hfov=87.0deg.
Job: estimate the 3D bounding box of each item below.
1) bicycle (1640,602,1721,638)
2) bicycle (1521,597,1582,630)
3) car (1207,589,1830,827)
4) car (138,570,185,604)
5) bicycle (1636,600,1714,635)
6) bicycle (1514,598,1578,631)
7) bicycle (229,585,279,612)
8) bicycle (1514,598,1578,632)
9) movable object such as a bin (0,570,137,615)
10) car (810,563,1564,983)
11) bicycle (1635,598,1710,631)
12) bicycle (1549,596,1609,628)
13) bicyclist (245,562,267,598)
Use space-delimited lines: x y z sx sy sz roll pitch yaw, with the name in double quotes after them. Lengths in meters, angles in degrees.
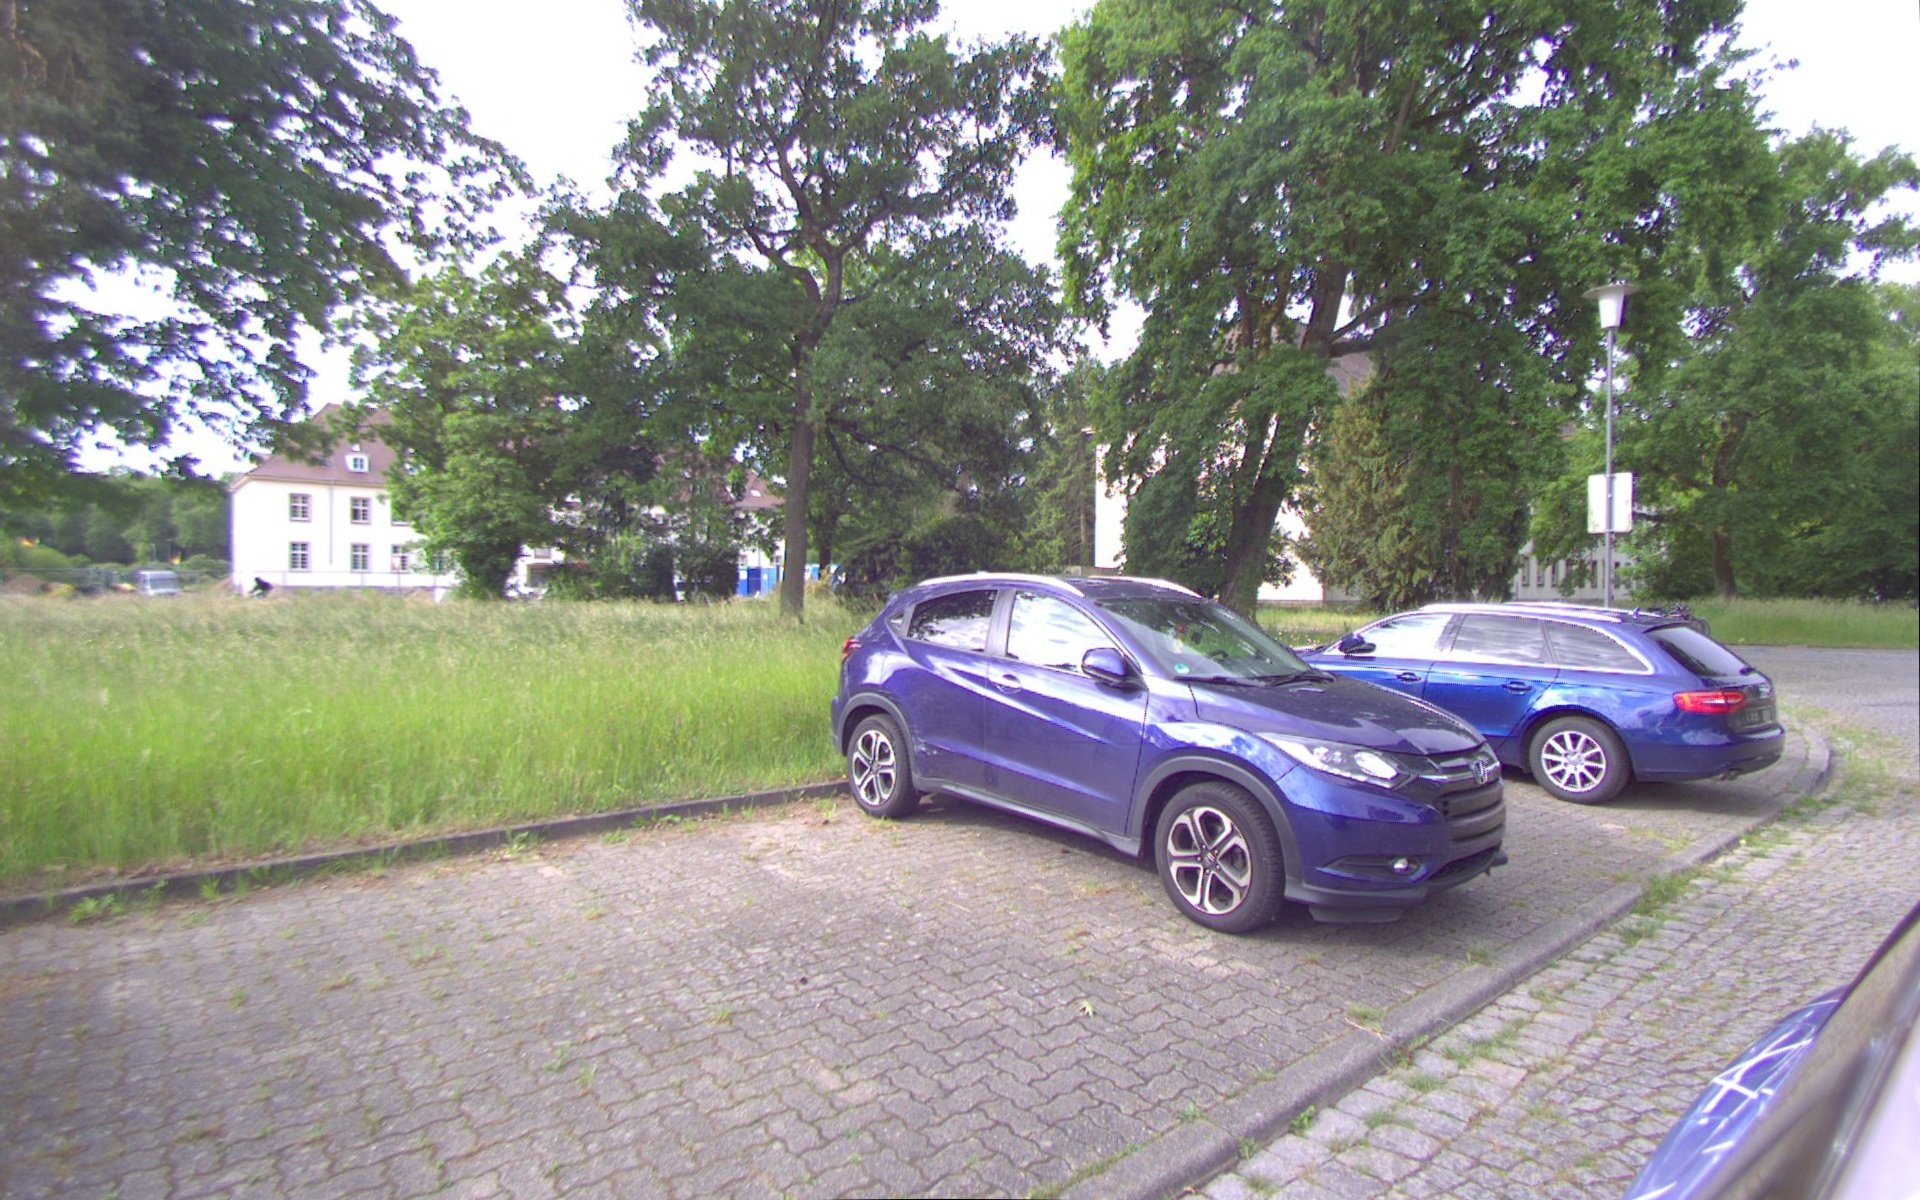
22.315 0.613 31.389 1.951 1.090 0.584 0 0 23 "bicycle"
21.284 0.473 36.425 1.839 1.137 0.616 0 0 27 "bicycle"
4.539 0.682 8.934 1.752 1.439 4.483 0 2 -37 "car"
-57.457 -0.887 72.800 4.579 2.377 1.888 0 0 42 "car"
23.151 0.562 32.808 1.951 1.090 0.584 0 0 23 "bicycle"
20.289 0.490 35.076 1.839 1.137 0.616 0 0 27 "bicycle"
-33.308 -0.091 47.762 1.899 1.244 0.724 -1 0 -42 "bicycle"
19.968 0.496 34.526 1.839 1.137 0.616 0 0 27 "bicycle"
-54.317 -0.477 61.801 5.852 2.688 2.179 0 0 -22 "movable object such as a bin"
0.971 0.603 6.007 1.762 1.591 4.170 -1 2 -40 "car"
24.336 0.491 34.613 2.010 1.090 0.616 0 0 27 "bicycle"
23.056 0.439 37.706 1.839 1.137 0.616 0 0 27 "bicycle"
-33.286 -0.941 47.853 0.759 1.717 0.726 0 0 -42 "bicyclist"
